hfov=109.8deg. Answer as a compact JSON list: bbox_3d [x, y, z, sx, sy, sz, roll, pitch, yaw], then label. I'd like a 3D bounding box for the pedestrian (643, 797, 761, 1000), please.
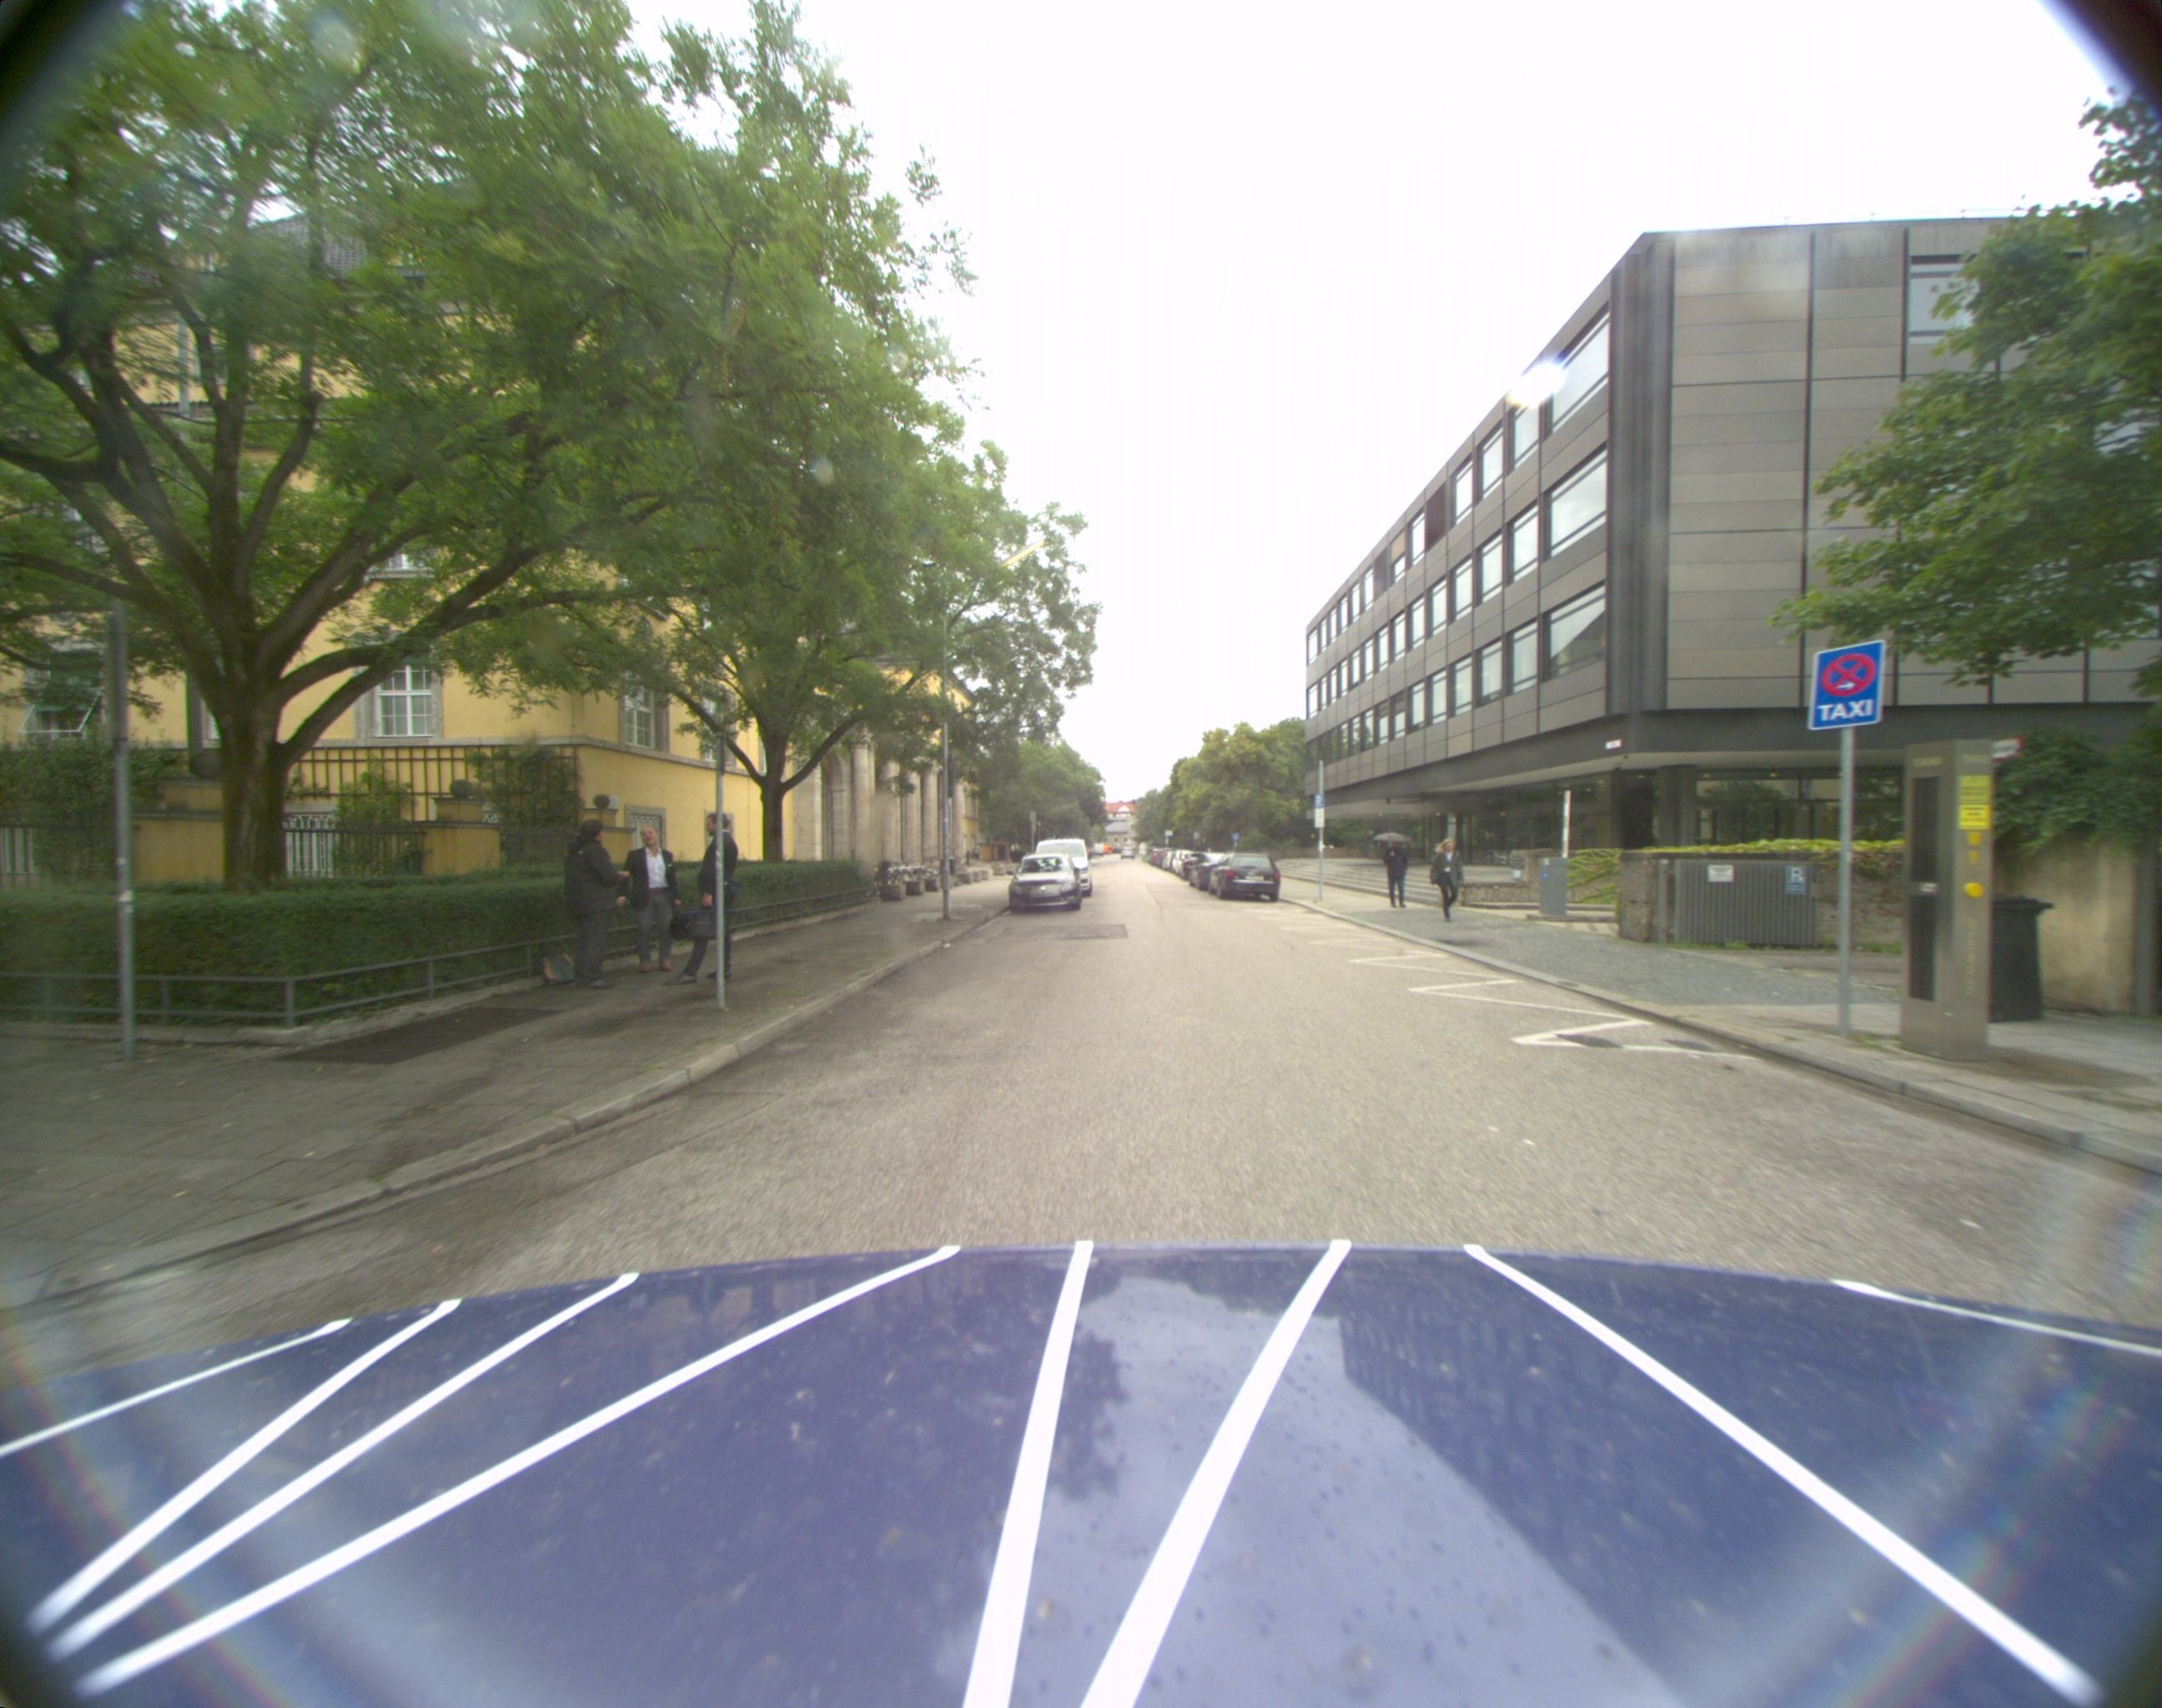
[{"bbox_3d":[-4.182,0.456,8.474,0.744,2.122,1.056,0,1,2],"label":"pedestrian"}]

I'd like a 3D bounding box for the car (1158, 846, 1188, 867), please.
[{"bbox_3d":[7.186,0.181,59.549,1.998,1.574,4.522,0,1,3],"label":"car"}]

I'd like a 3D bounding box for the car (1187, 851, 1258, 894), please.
[{"bbox_3d":[5.396,0.653,29.662,1.927,1.431,4.917,2,1,1],"label":"car"}]

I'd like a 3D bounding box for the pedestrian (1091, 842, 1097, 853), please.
[{"bbox_3d":[2.338,-1.156,137.911,0.777,1.855,0.997,-3,2,-3],"label":"pedestrian"}]

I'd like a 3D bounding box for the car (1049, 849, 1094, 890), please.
[{"bbox_3d":[-0.334,0.612,31.631,1.609,1.537,2.934,-2,1,3],"label":"car"}]

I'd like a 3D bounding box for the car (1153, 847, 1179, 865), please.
[{"bbox_3d":[7.365,0.125,65.983,1.998,1.452,4.648,0,1,4],"label":"car"}]

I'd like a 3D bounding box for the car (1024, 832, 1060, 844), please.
[{"bbox_3d":[-5.500,-2.206,107.566,4.908,1.672,1.966,0,1,1],"label":"car"}]

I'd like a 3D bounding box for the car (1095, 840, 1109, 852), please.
[{"bbox_3d":[4.167,-1.643,152.115,2.236,2.289,4.728,-3,1,-3],"label":"car"}]

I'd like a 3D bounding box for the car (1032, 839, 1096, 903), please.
[{"bbox_3d":[-0.485,0.503,26.528,1.849,1.922,5.272,-3,1,2],"label":"car"}]

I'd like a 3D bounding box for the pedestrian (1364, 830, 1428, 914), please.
[{"bbox_3d":[7.962,0.431,19.269,1.138,2.043,1.221,0,1,2],"label":"pedestrian"}]

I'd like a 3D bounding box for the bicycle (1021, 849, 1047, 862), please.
[{"bbox_3d":[-4.368,0.126,70.842,2.264,1.053,0.601,5,1,-8],"label":"bicycle"}]

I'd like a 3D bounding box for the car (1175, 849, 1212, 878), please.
[{"bbox_3d":[6.318,0.506,42.968,1.685,1.432,4.279,2,1,4],"label":"car"}]

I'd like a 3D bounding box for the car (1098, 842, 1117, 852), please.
[{"bbox_3d":[7.434,-2.038,214.903,2.577,2.521,4.974,-5,2,-44],"label":"car"}]

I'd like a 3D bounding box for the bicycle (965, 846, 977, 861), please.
[{"bbox_3d":[-10.085,-0.049,69.827,0.601,1.299,2.264,0,1,3],"label":"bicycle"}]

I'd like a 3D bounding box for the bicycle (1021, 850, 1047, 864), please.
[{"bbox_3d":[-4.275,0.238,69.093,2.264,1.088,0.601,5,1,-8],"label":"bicycle"}]

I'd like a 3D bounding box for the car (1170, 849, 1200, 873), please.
[{"bbox_3d":[6.614,0.415,48.530,1.547,1.462,3.553,1,1,3],"label":"car"}]

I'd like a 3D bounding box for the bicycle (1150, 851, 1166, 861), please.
[{"bbox_3d":[8.300,0.218,81.796,1.700,1.101,0.598,-1,1,-5],"label":"bicycle"}]

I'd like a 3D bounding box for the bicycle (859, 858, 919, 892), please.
[{"bbox_3d":[-6.536,0.720,25.935,1.935,1.107,0.471,1,1,5],"label":"bicycle"}]

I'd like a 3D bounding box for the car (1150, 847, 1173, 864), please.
[{"bbox_3d":[7.573,0.140,71.851,1.998,1.535,4.365,0,1,4],"label":"car"}]

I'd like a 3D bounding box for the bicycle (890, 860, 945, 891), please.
[{"bbox_3d":[-6.028,0.803,28.084,1.936,1.107,0.471,1,1,0],"label":"bicycle"}]

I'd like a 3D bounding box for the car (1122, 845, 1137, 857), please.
[{"bbox_3d":[7.209,-0.411,112.604,2.029,1.679,4.678,0,1,4],"label":"car"}]

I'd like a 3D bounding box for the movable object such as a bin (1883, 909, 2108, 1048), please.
[{"bbox_3d":[7.887,1.045,6.607,0.937,1.057,0.840,-1,1,1],"label":"movable object such as a bin"}]

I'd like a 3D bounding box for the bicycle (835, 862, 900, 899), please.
[{"bbox_3d":[-6.698,0.821,23.850,1.935,1.107,0.471,1,1,5],"label":"bicycle"}]

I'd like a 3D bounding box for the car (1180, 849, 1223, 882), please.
[{"bbox_3d":[5.953,0.528,37.943,1.743,1.453,4.237,2,1,4],"label":"car"}]

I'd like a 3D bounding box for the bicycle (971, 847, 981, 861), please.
[{"bbox_3d":[-9.964,0.035,72.184,0.601,1.299,2.165,0,1,2],"label":"bicycle"}]

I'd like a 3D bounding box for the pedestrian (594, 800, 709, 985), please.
[{"bbox_3d":[-5.172,0.433,9.224,0.744,2.122,1.056,0,1,2],"label":"pedestrian"}]

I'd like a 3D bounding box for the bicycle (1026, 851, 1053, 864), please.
[{"bbox_3d":[-3.737,0.302,67.843,2.370,1.000,0.677,2,1,-6],"label":"bicycle"}]

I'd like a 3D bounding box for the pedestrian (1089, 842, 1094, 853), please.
[{"bbox_3d":[1.975,-1.194,138.944,0.777,1.855,0.997,-3,2,-5],"label":"pedestrian"}]

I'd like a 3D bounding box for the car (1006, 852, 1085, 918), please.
[{"bbox_3d":[-0.835,0.730,20.559,1.775,1.481,4.973,-3,1,1],"label":"car"}]

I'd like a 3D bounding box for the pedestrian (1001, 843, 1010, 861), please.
[{"bbox_3d":[-7.524,-0.221,75.871,0.790,1.736,1.056,0,1,2],"label":"pedestrian"}]

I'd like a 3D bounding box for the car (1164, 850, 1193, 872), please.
[{"bbox_3d":[6.854,0.479,53.623,1.762,1.392,4.218,3,1,4],"label":"car"}]

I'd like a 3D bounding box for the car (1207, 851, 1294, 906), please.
[{"bbox_3d":[5.284,0.705,24.398,1.998,1.482,4.884,1,1,4],"label":"car"}]

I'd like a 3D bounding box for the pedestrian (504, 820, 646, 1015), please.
[{"bbox_3d":[-5.322,0.612,8.023,0.742,1.897,1.058,1,2,39],"label":"pedestrian"}]

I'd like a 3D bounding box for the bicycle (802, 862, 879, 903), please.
[{"bbox_3d":[-6.825,0.804,21.574,2.036,1.107,0.471,1,1,0],"label":"bicycle"}]

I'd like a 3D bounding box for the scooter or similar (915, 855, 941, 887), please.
[{"bbox_3d":[-5.924,0.641,29.369,0.539,1.215,1.009,0,1,-42],"label":"scooter or similar"}]

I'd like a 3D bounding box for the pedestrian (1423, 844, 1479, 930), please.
[{"bbox_3d":[7.748,0.670,15.939,0.754,1.739,0.953,-2,1,9],"label":"pedestrian"}]

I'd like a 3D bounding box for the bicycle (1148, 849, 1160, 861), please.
[{"bbox_3d":[8.019,0.126,83.337,0.574,1.275,1.421,-1,1,35],"label":"bicycle"}]
